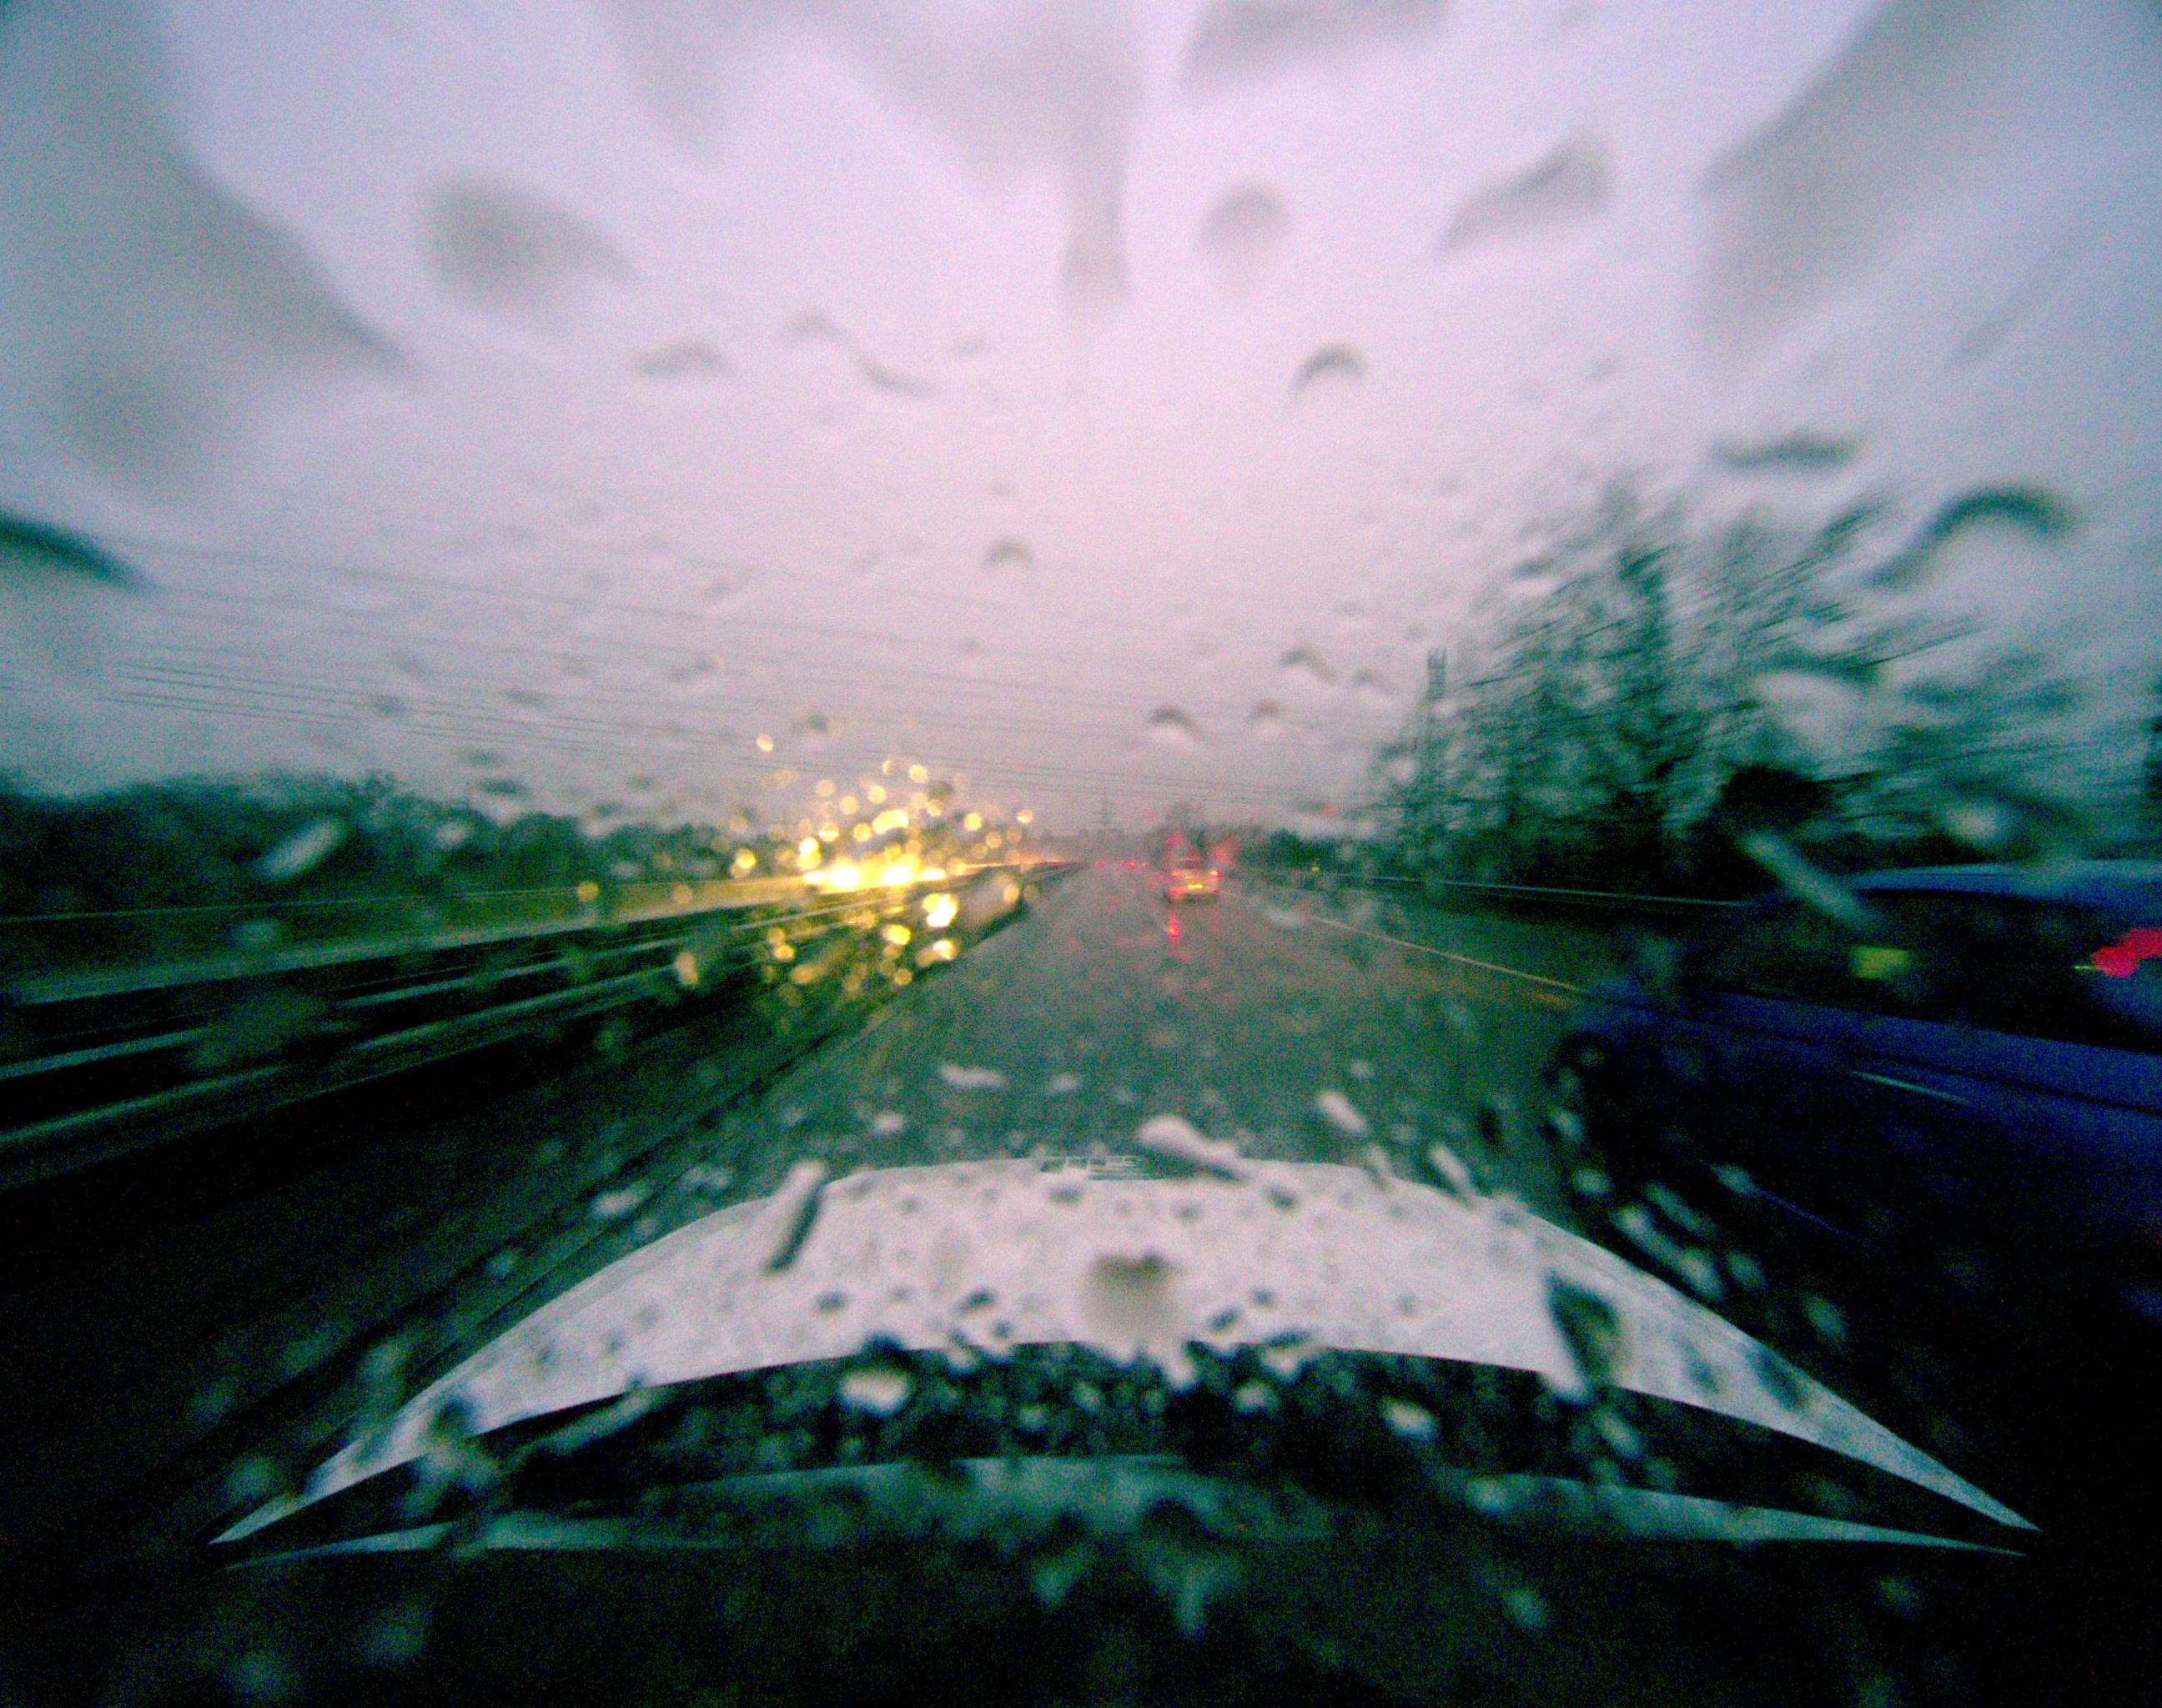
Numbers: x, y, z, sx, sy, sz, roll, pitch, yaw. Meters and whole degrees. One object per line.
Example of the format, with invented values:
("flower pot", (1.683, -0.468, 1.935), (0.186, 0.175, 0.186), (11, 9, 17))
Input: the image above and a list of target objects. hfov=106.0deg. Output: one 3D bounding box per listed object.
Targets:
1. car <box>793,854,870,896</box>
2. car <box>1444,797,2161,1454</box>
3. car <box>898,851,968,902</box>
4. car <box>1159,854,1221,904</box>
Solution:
("car", (-11.320, 0.922, 37.229), (2.063, 1.791, 4.340), (-1, 0, 1))
("car", (3.335, 0.620, 3.392), (1.839, 1.453, 4.149), (-1, -1, 1))
("car", (-6.498, 0.951, 36.304), (2.063, 2.114, 4.763), (-1, 0, 1))
("car", (3.866, 0.849, 29.498), (1.838, 1.636, 3.769), (-1, 0, 2))
